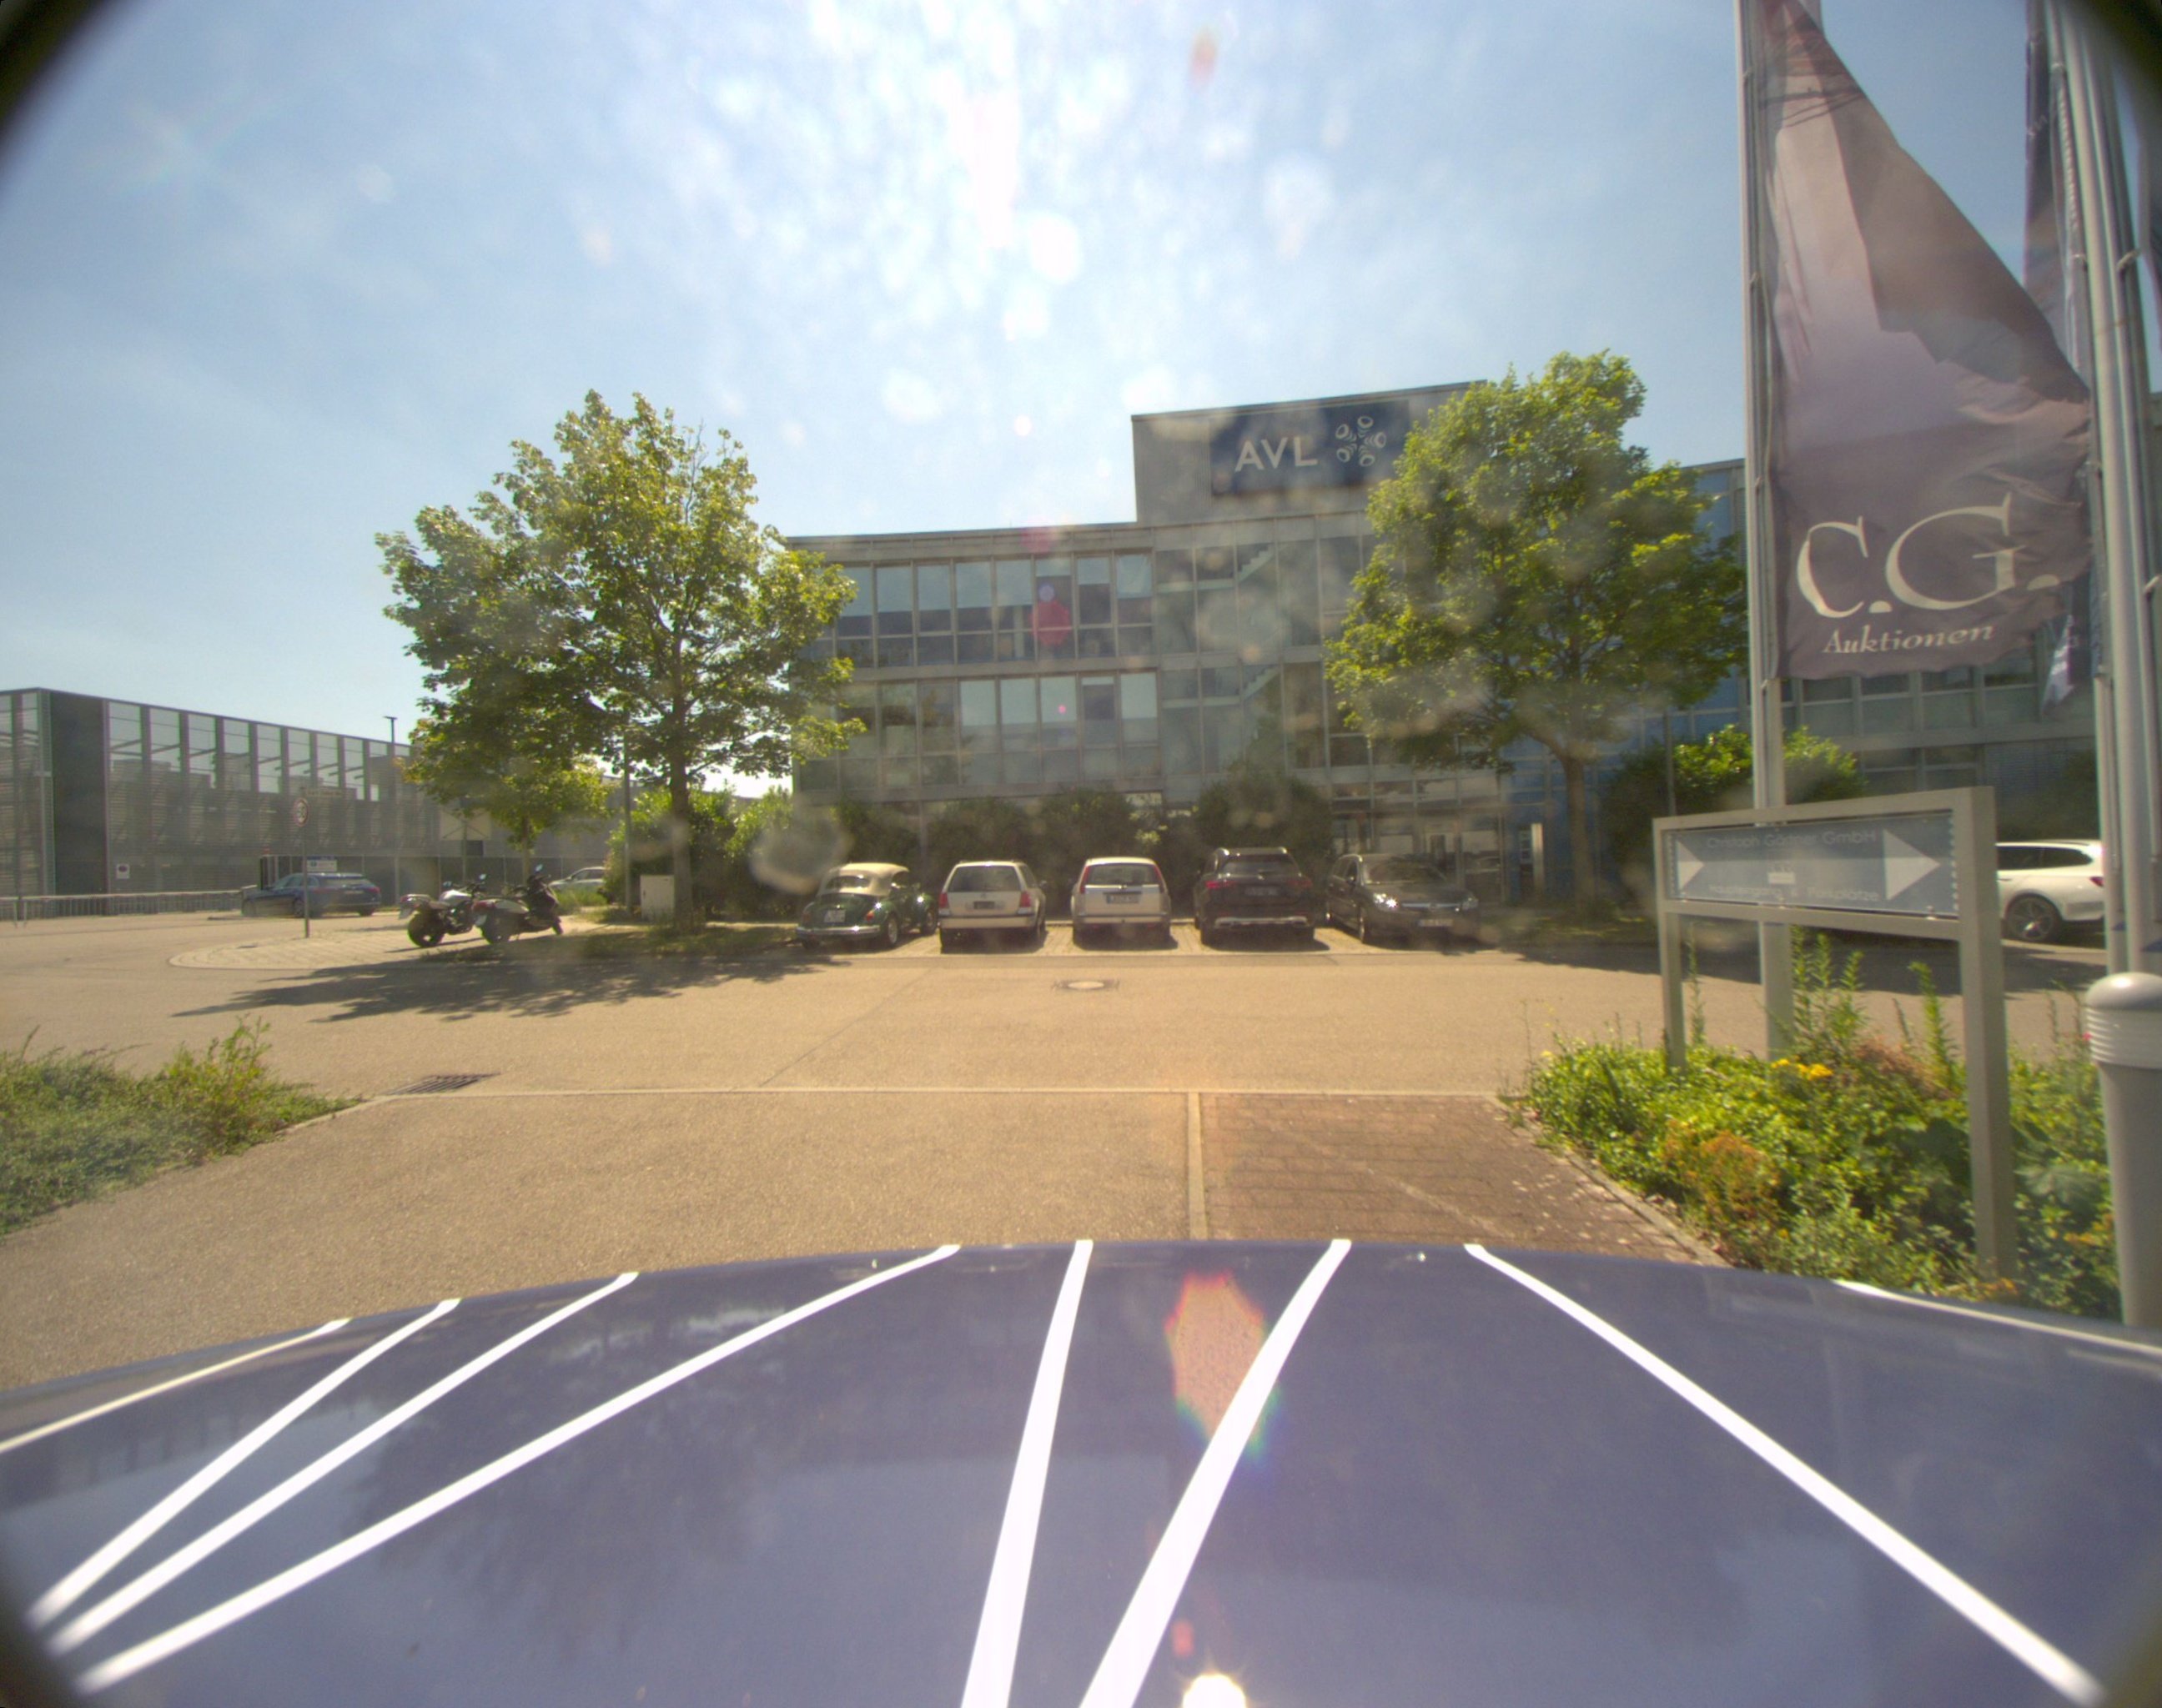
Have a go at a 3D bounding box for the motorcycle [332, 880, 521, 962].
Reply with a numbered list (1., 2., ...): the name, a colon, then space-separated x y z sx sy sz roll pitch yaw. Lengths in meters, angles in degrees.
1. motorcycle: -12.120 1.190 14.274 0.873 1.252 2.836 -1 1 5

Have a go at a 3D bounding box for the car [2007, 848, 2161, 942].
1. car: 17.282 0.618 11.531 1.750 1.392 4.174 -1 0 9

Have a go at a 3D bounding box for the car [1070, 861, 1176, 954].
1. car: 0.699 0.897 14.321 1.731 1.444 3.600 -1 1 0

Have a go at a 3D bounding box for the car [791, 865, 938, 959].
1. car: -3.837 0.969 14.035 1.521 1.437 3.420 -1 1 4

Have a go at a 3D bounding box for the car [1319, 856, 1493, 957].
1. car: 5.614 0.809 13.730 1.729 1.475 4.399 -2 0 7

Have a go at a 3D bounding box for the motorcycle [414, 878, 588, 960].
1. motorcycle: -10.776 1.150 14.331 0.873 1.252 2.836 -1 1 5

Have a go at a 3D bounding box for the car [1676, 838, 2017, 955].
1. car: 12.381 0.597 12.770 1.831 1.628 4.173 -1 0 7

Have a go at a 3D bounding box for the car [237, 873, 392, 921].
1. car: -25.273 1.410 25.066 4.436 1.401 1.862 -2 0 20

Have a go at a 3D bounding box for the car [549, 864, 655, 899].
1. car: -21.603 1.231 34.267 4.404 1.467 1.783 -1 0 23

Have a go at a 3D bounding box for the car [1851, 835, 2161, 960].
1. car: 14.910 0.550 11.923 1.831 1.628 4.174 -1 0 9

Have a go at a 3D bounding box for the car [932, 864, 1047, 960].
1. car: -1.544 0.950 13.953 1.642 1.444 3.600 0 1 0

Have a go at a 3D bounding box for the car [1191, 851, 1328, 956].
1. car: 3.088 0.781 13.883 1.937 1.593 3.861 -1 1 6
